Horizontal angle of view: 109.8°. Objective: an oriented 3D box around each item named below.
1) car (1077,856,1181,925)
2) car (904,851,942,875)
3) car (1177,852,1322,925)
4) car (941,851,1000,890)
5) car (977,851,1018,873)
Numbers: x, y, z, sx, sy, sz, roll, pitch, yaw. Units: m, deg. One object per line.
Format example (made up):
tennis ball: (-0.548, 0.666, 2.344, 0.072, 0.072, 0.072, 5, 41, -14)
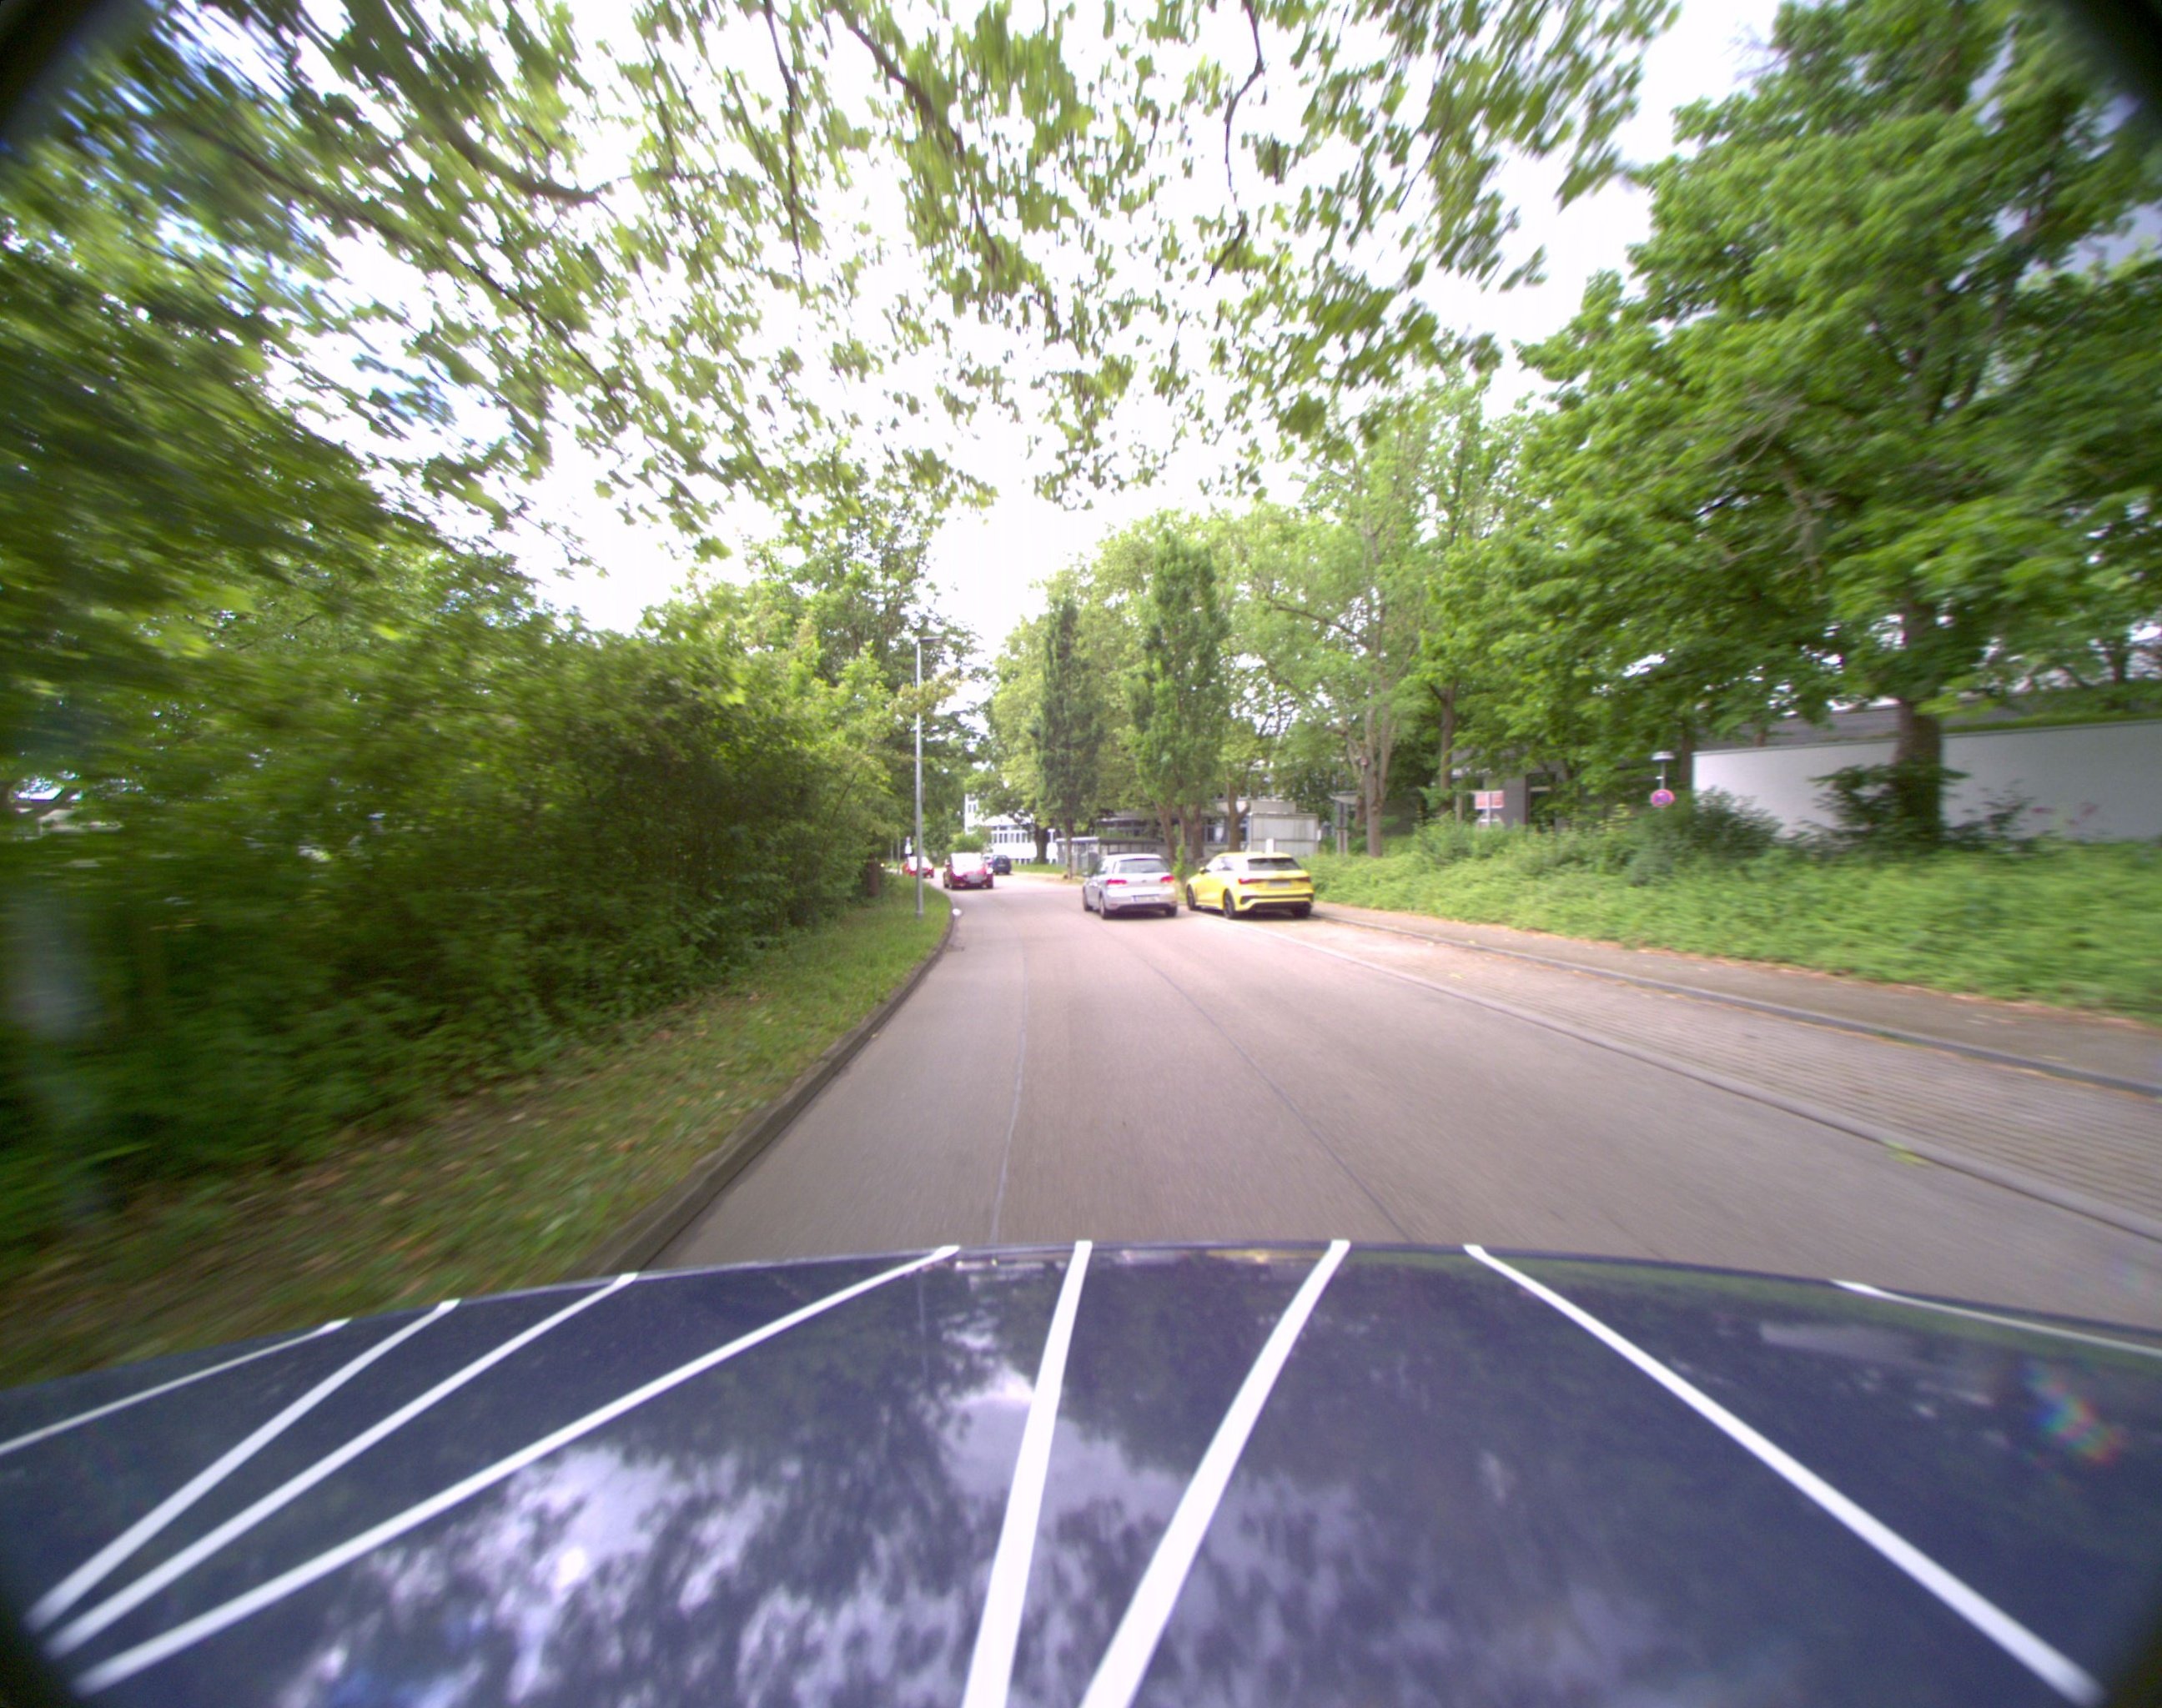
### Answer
car: (1.050, 0.799, 18.681, 1.682, 1.454, 4.058, -2, 0, -8)
car: (-10.850, 0.636, 52.064, 2.002, 1.564, 3.993, 1, 0, -20)
car: (3.637, 0.675, 17.243, 1.706, 1.395, 4.269, -1, 1, -10)
car: (-5.207, 0.714, 35.270, 1.864, 1.608, 4.468, -2, 1, -19)
car: (-6.009, 0.524, 54.128, 1.687, 1.503, 4.422, 0, 0, -23)
